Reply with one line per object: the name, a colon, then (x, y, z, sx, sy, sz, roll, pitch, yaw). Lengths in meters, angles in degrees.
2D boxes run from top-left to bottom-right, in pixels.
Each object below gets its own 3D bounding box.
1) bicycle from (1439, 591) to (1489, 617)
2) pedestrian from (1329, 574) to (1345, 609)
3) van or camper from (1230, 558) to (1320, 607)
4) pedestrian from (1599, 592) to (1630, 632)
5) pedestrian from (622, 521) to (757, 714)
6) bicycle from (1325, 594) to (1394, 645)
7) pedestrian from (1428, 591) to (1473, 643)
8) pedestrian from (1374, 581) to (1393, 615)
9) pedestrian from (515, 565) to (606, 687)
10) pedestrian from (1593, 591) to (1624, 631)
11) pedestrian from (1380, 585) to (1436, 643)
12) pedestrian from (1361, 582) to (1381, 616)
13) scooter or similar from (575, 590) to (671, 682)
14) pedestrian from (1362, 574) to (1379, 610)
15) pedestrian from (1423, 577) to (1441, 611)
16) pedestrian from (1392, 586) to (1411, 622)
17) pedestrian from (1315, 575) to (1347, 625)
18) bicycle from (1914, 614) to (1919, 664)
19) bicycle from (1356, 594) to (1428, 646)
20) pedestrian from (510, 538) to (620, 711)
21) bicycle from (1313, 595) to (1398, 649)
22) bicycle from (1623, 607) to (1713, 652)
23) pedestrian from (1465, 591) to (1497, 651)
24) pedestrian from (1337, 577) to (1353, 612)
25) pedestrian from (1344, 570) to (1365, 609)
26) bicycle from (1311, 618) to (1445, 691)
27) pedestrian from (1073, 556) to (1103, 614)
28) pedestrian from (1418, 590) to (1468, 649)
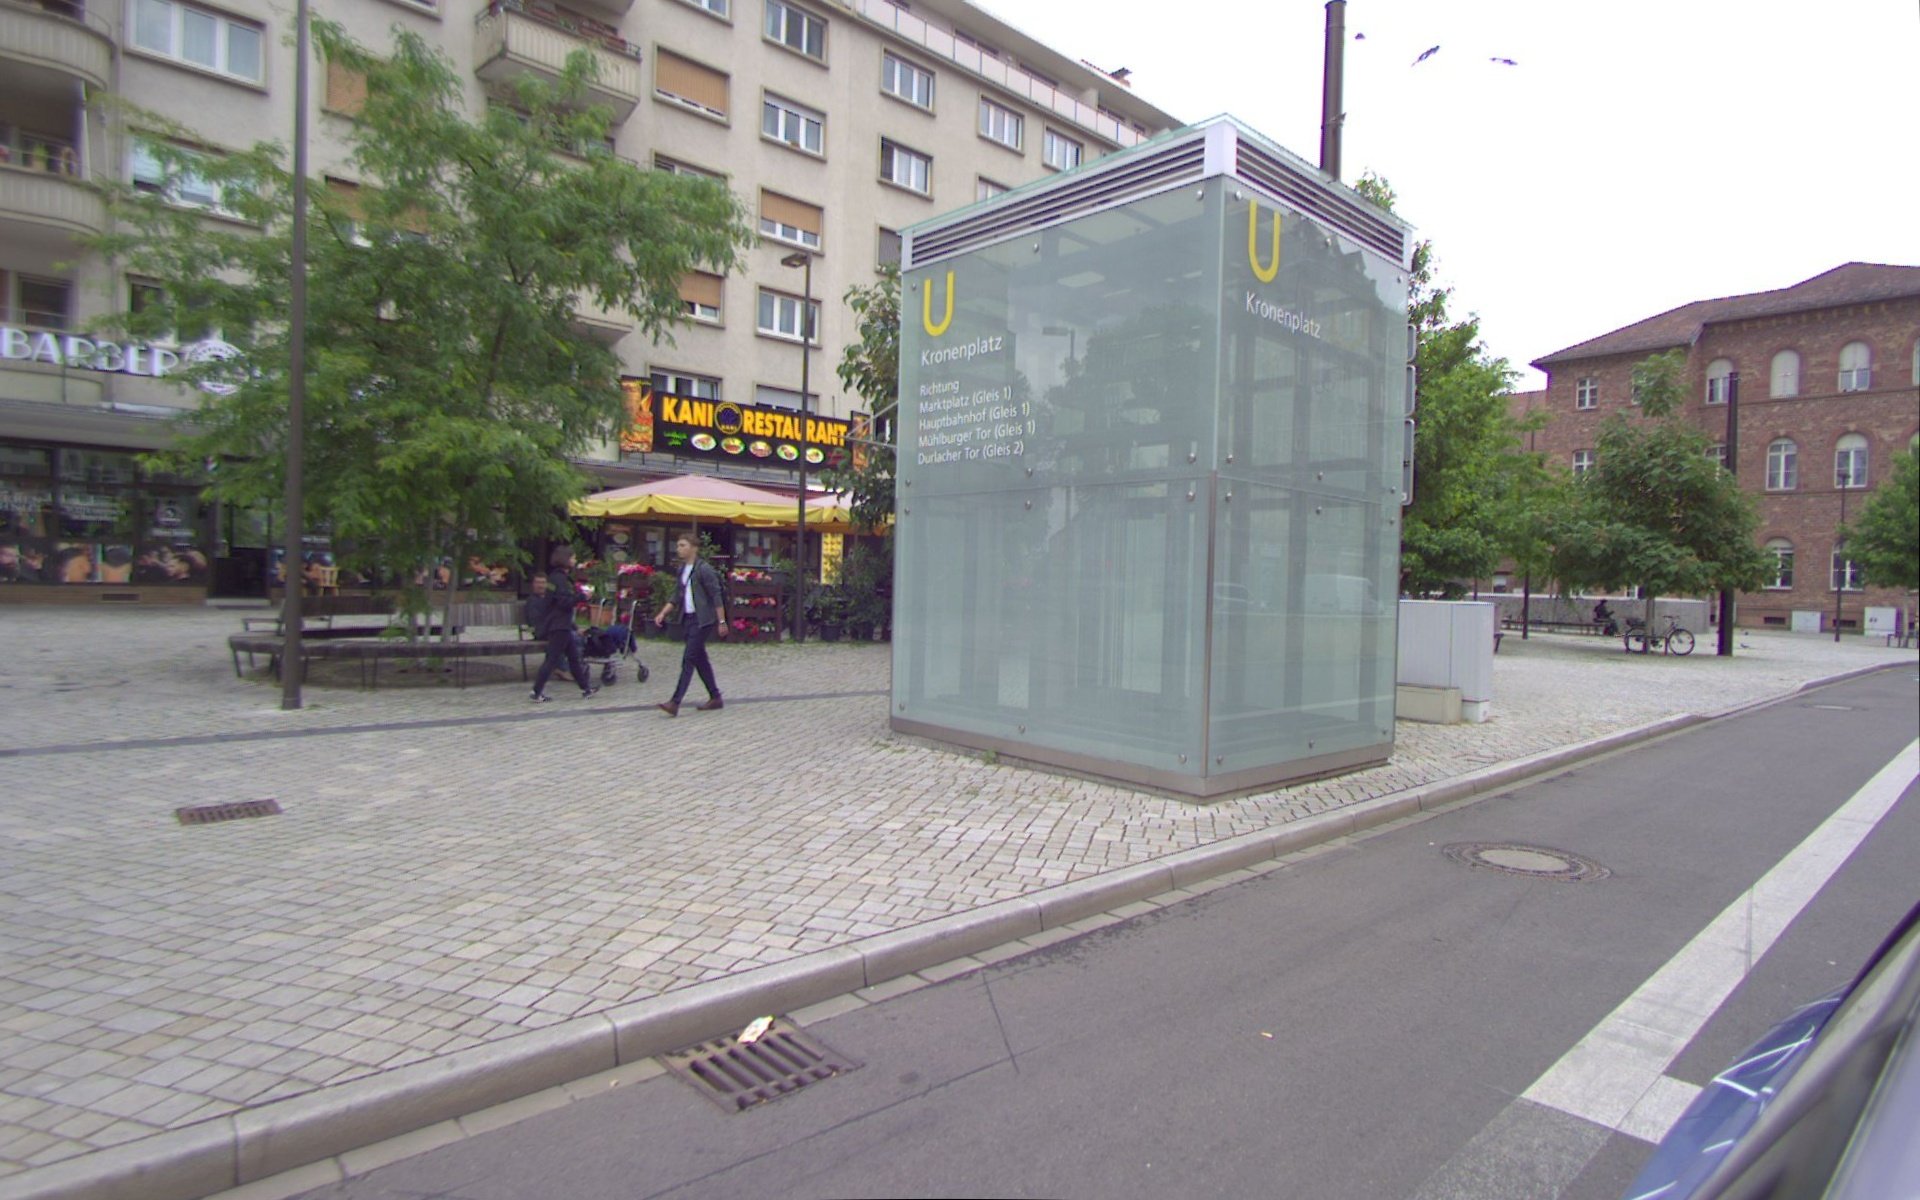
bicycle: (23.769, 0.193, 47.759, 0.462, 1.077, 2.027, 1, 3, -42)
pedestrian: (17.552, -0.391, 47.084, 0.583, 1.606, 0.640, 3, 0, 16)
van or camper: (18.369, -0.961, 58.892, 6.447, 2.754, 1.996, 0, 0, -42)
pedestrian: (25.466, 0.445, 39.395, 0.770, 1.473, 0.764, 4, 3, 19)
pedestrian: (-2.733, 0.150, 10.230, 1.060, 1.824, 0.715, 0, 4, -43)
bicycle: (9.590, 0.451, 24.342, 0.468, 1.124, 1.609, 1, 2, -27)
pedestrian: (13.406, 0.462, 27.649, 1.386, 1.383, 0.628, 1, 0, -43)
pedestrian: (21.698, -0.121, 51.850, 0.579, 1.691, 0.645, 3, 0, -21)
pedestrian: (-4.663, 0.276, 11.794, 0.719, 1.313, 1.048, 1, 3, -36)
pedestrian: (25.716, 0.426, 40.135, 0.770, 1.473, 0.764, 4, 3, 19)
pedestrian: (11.025, 0.337, 24.911, 1.253, 1.383, 0.545, 1, 0, -24)
pedestrian: (20.781, -0.062, 51.192, 0.579, 1.691, 0.644, 3, 0, -26)
scooter or similar: (-4.069, 0.402, 12.329, 0.710, 0.960, 1.594, 2, 2, -4)
pedestrian: (18.820, -0.349, 46.434, 0.583, 1.606, 0.640, 3, 0, 16)
pedestrian: (23.955, -0.315, 51.338, 0.579, 1.691, 0.515, 3, 0, -21)
pedestrian: (21.433, 0.198, 49.086, 0.579, 1.691, 0.515, 3, 0, -20)
pedestrian: (14.008, -0.006, 38.198, 0.769, 1.794, 1.052, 3, 2, 37)
bicycle: (25.311, 1.003, 26.152, 1.904, 1.276, 0.525, 0, 1, -34)
bicycle: (10.262, 0.462, 24.077, 0.468, 1.124, 1.609, 1, 2, -27)
pedestrian: (-4.108, 0.226, 10.530, 0.625, 1.705, 0.856, 4, 3, 44)
bicycle: (9.278, 0.506, 23.835, 0.468, 1.124, 2.045, 1, 2, -26)
bicycle: (19.350, 0.785, 27.703, 0.632, 1.137, 1.922, 1, 0, -30)
pedestrian: (12.348, 0.478, 23.979, 0.624, 1.383, 0.680, 1, 0, 30)
pedestrian: (21.313, -0.325, 56.033, 0.662, 1.913, 0.525, 0, 0, 45)
pedestrian: (18.281, -0.487, 46.898, 0.630, 1.790, 0.592, 3, 0, -6)
bicycle: (6.084, 0.787, 14.754, 1.717, 0.990, 0.661, 1, 1, -13)
pedestrian: (4.270, -0.490, 33.819, 0.835, 1.909, 0.776, 1, 0, -3)
pedestrian: (11.635, 0.464, 24.386, 0.900, 1.383, 0.631, 1, 0, -24)
